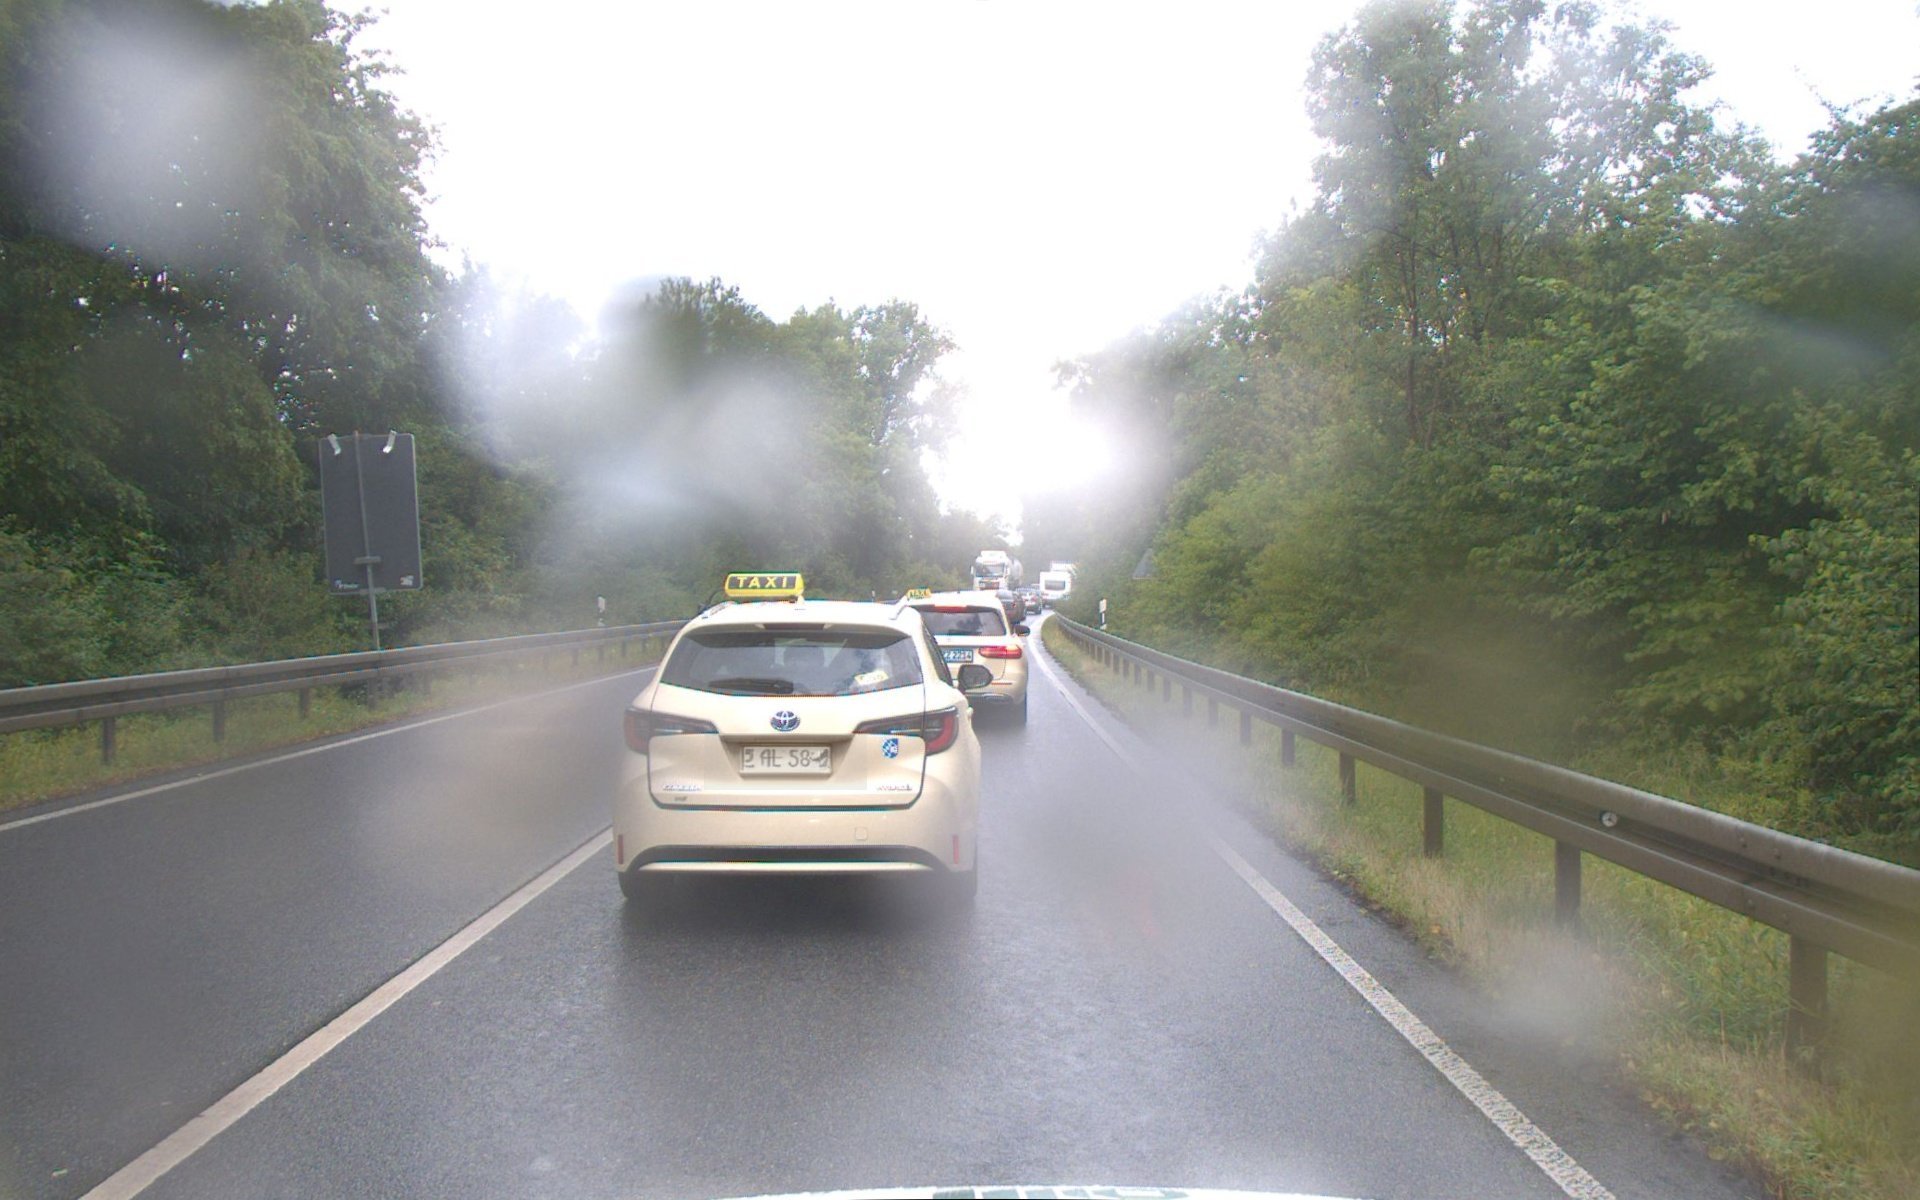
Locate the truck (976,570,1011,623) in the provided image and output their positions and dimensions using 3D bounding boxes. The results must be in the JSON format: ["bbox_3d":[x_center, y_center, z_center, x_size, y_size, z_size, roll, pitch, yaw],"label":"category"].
[{"bbox_3d":[2.494,-0.261,123.974,2.484,3.892,5.244,1,0,0],"label":"truck"}]

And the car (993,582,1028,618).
[{"bbox_3d":[2.387,0.022,78.857,1.582,1.641,3.622,1,0,1],"label":"car"}]

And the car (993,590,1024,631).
[{"bbox_3d":[1.916,0.406,64.976,1.143,1.574,2.605,1,0,2],"label":"car"}]

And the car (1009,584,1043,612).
[{"bbox_3d":[3.993,-0.110,99.176,1.732,1.574,3.816,1,0,7],"label":"car"}]

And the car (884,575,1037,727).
[{"bbox_3d":[0.039,0.557,19.812,1.633,1.608,3.892,1,0,1],"label":"car"}]

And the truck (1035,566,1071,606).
[{"bbox_3d":[6.804,-0.976,121.578,2.496,2.760,7.537,1,0,3],"label":"truck"}]

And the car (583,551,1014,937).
[{"bbox_3d":[-0.712,0.620,9.083,1.796,1.608,4.155,1,0,-1],"label":"car"}]

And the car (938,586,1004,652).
[{"bbox_3d":[0.299,0.446,41.359,1.578,1.574,3.814,0,0,1],"label":"car"}]

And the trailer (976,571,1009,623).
[{"bbox_3d":[2.521,-0.241,129.362,2.484,3.892,7.792,1,0,1],"label":"trailer"}]

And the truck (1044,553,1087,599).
[{"bbox_3d":[9.000,-1.961,140.246,3.041,3.745,7.005,1,0,8],"label":"truck"}]

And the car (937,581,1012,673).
[{"bbox_3d":[0.242,0.469,30.041,1.274,1.574,3.259,1,0,0],"label":"car"}]
